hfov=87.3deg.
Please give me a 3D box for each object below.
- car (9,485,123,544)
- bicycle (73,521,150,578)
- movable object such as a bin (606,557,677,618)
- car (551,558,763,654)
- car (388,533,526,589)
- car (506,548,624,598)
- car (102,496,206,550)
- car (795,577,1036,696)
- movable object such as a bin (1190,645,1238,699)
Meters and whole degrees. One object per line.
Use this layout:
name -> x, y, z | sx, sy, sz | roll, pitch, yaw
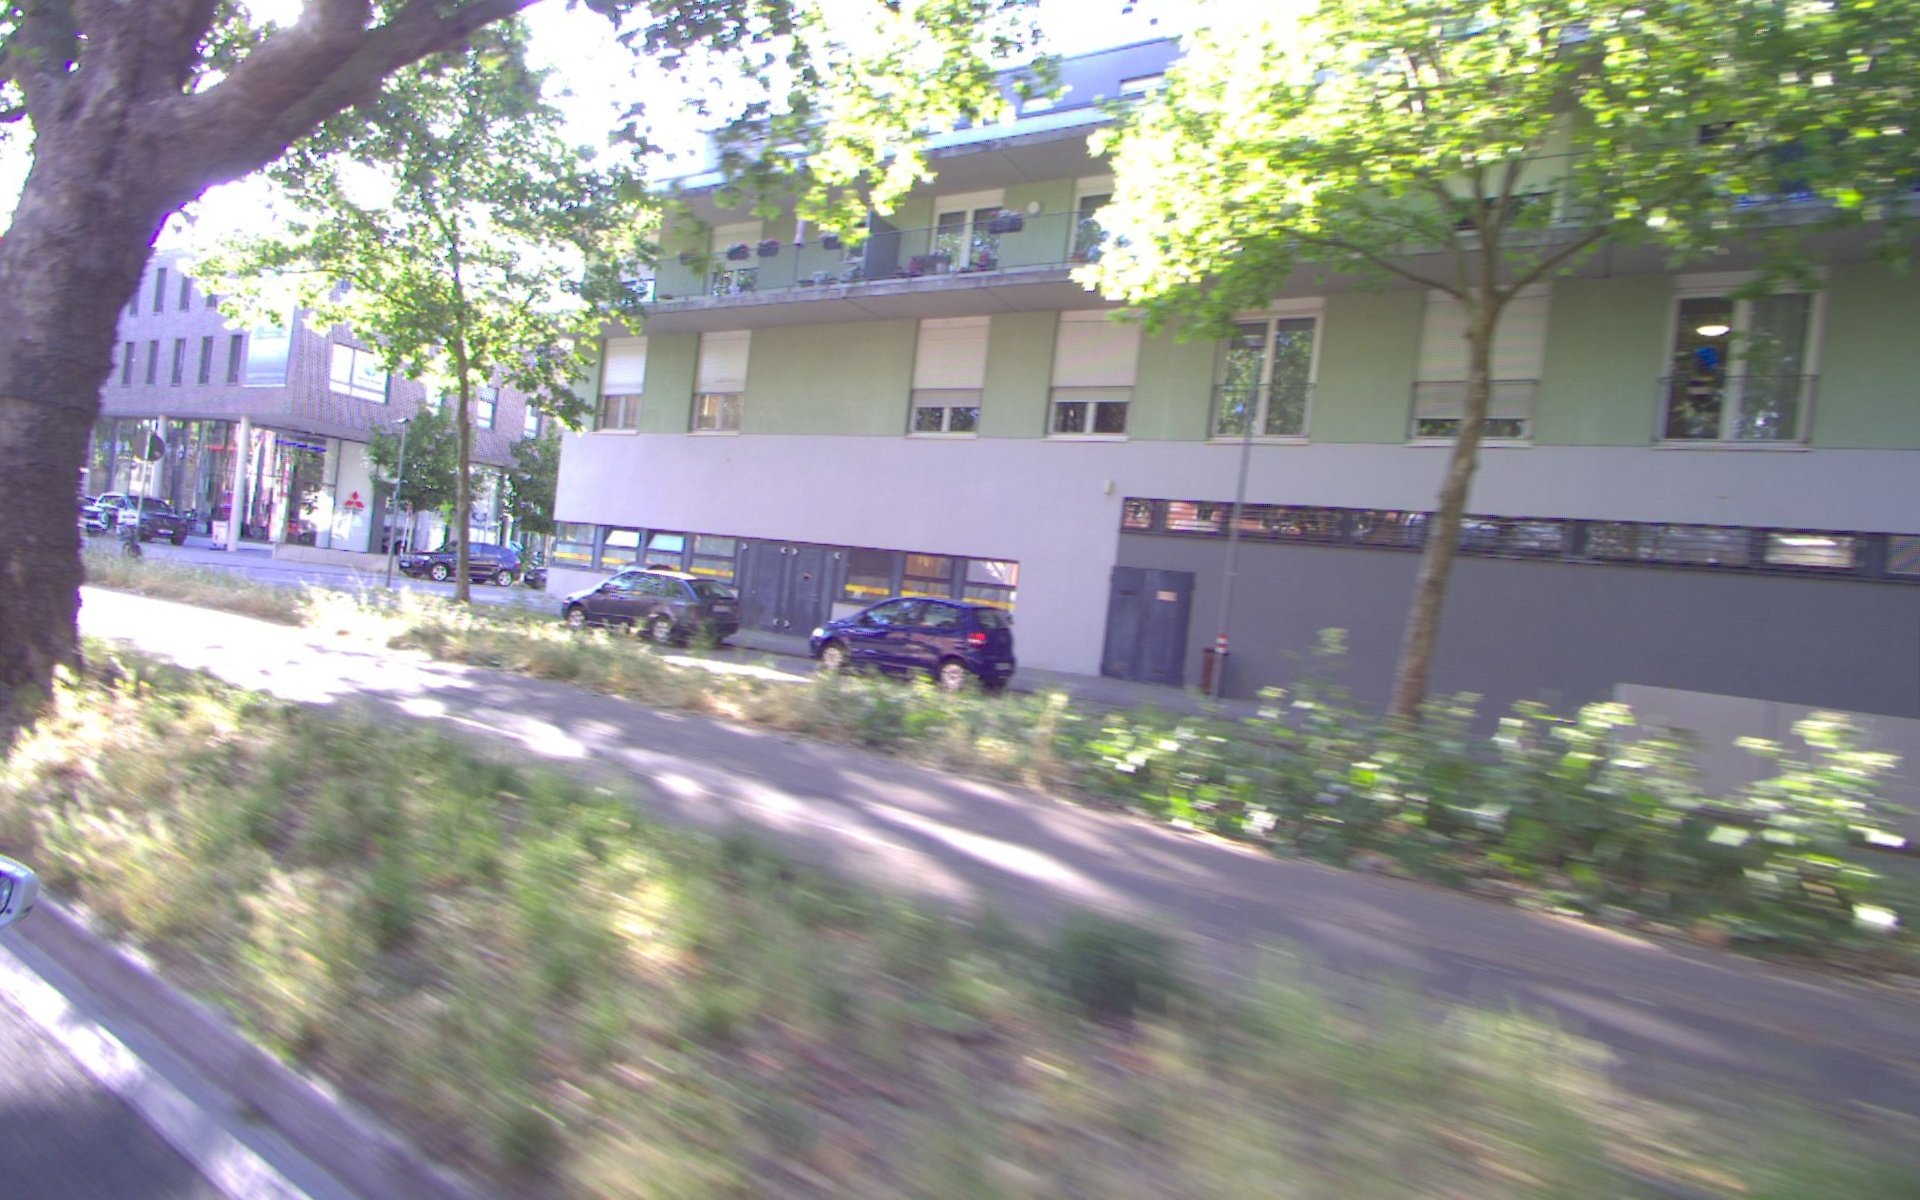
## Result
car -> -34.253, -3.292, 38.537 | 4.108, 1.755, 1.879 | 7, 0, 28
bicycle -> -17.674, -1.046, 20.953 | 1.458, 1.016, 0.384 | 7, 1, 15
movable object such as a bin -> -8.773, -0.346, 27.706 | 1.388, 1.481, 1.191 | 7, 0, 43
car -> -6.364, 0.119, 21.084 | 4.053, 1.487, 1.862 | 7, 0, 29
car -> -19.876, -1.499, 39.951 | 1.995, 1.683, 4.490 | 7, 1, 28
car -> -17.397, -1.155, 44.513 | 1.996, 1.683, 4.488 | 7, 1, 29
car -> -33.213, -3.175, 41.435 | 4.111, 1.755, 1.988 | 7, 0, 31
car -> -0.808, 0.623, 17.657 | 3.697, 1.572, 1.861 | 7, 0, 31
movable object such as a bin -> 4.959, 1.398, 19.645 | 0.652, 0.955, 0.629 | 7, 1, 32
